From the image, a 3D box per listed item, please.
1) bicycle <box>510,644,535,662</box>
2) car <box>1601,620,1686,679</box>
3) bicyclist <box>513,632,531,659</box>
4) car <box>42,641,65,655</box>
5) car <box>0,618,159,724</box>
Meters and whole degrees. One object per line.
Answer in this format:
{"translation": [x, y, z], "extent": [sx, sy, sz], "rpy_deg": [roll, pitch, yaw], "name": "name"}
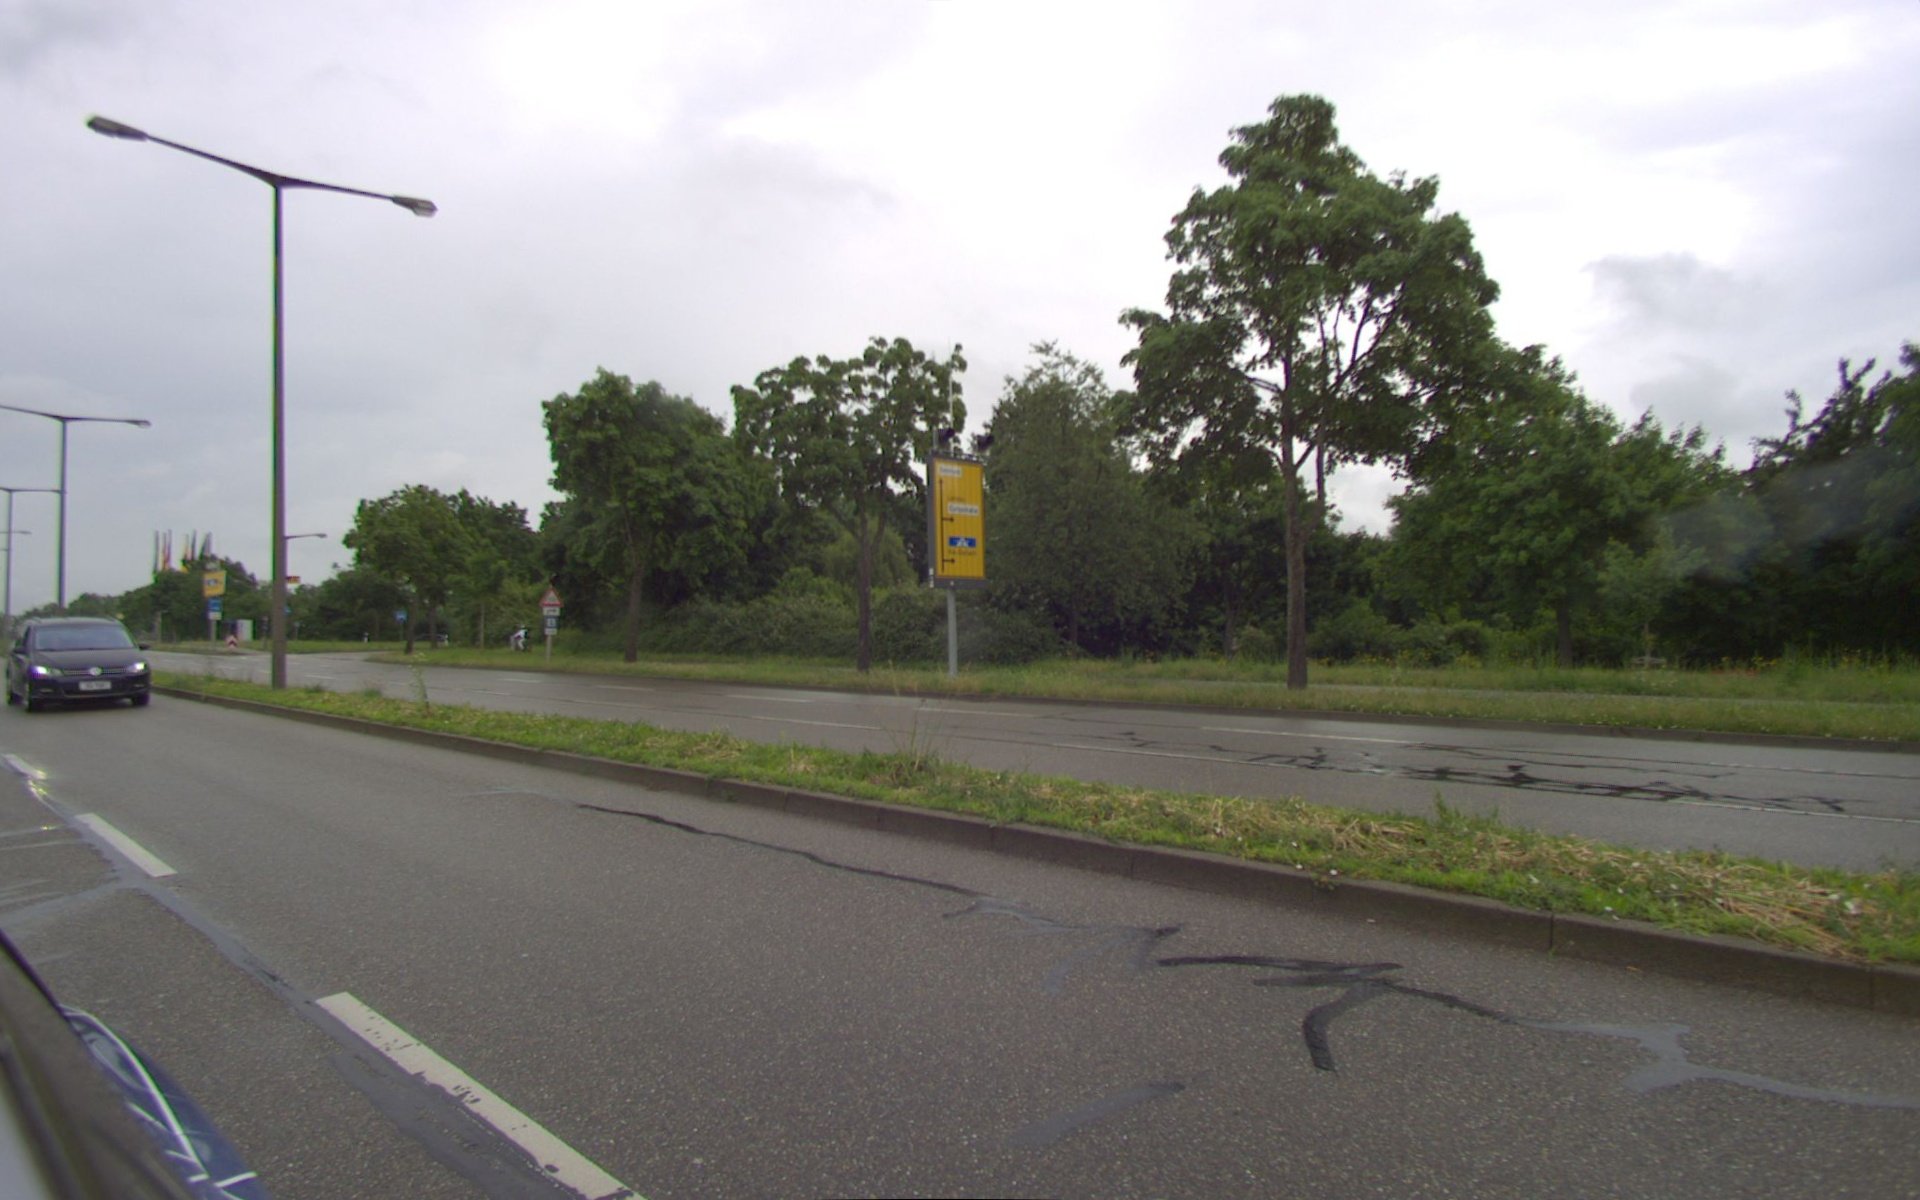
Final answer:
{"translation": [-21.958, 2.654, 50.766], "extent": [1.633, 0.892, 0.516], "rpy_deg": [-2, -1, 44], "name": "bicycle"}
{"translation": [21.238, 1.511, 31.409], "extent": [1.996, 1.698, 3.952], "rpy_deg": [-3, -3, 35], "name": "car"}
{"translation": [-21.964, 2.263, 50.770], "extent": [0.808, 1.312, 0.516], "rpy_deg": [-2, -1, 43], "name": "bicyclist"}
{"translation": [-112.542, 5.948, 125.568], "extent": [4.492, 1.642, 1.688], "rpy_deg": [-2, -4, 43], "name": "car"}
{"translation": [-17.363, 1.282, 19.714], "extent": [4.814, 1.764, 1.827], "rpy_deg": [-1, 0, 40], "name": "car"}
